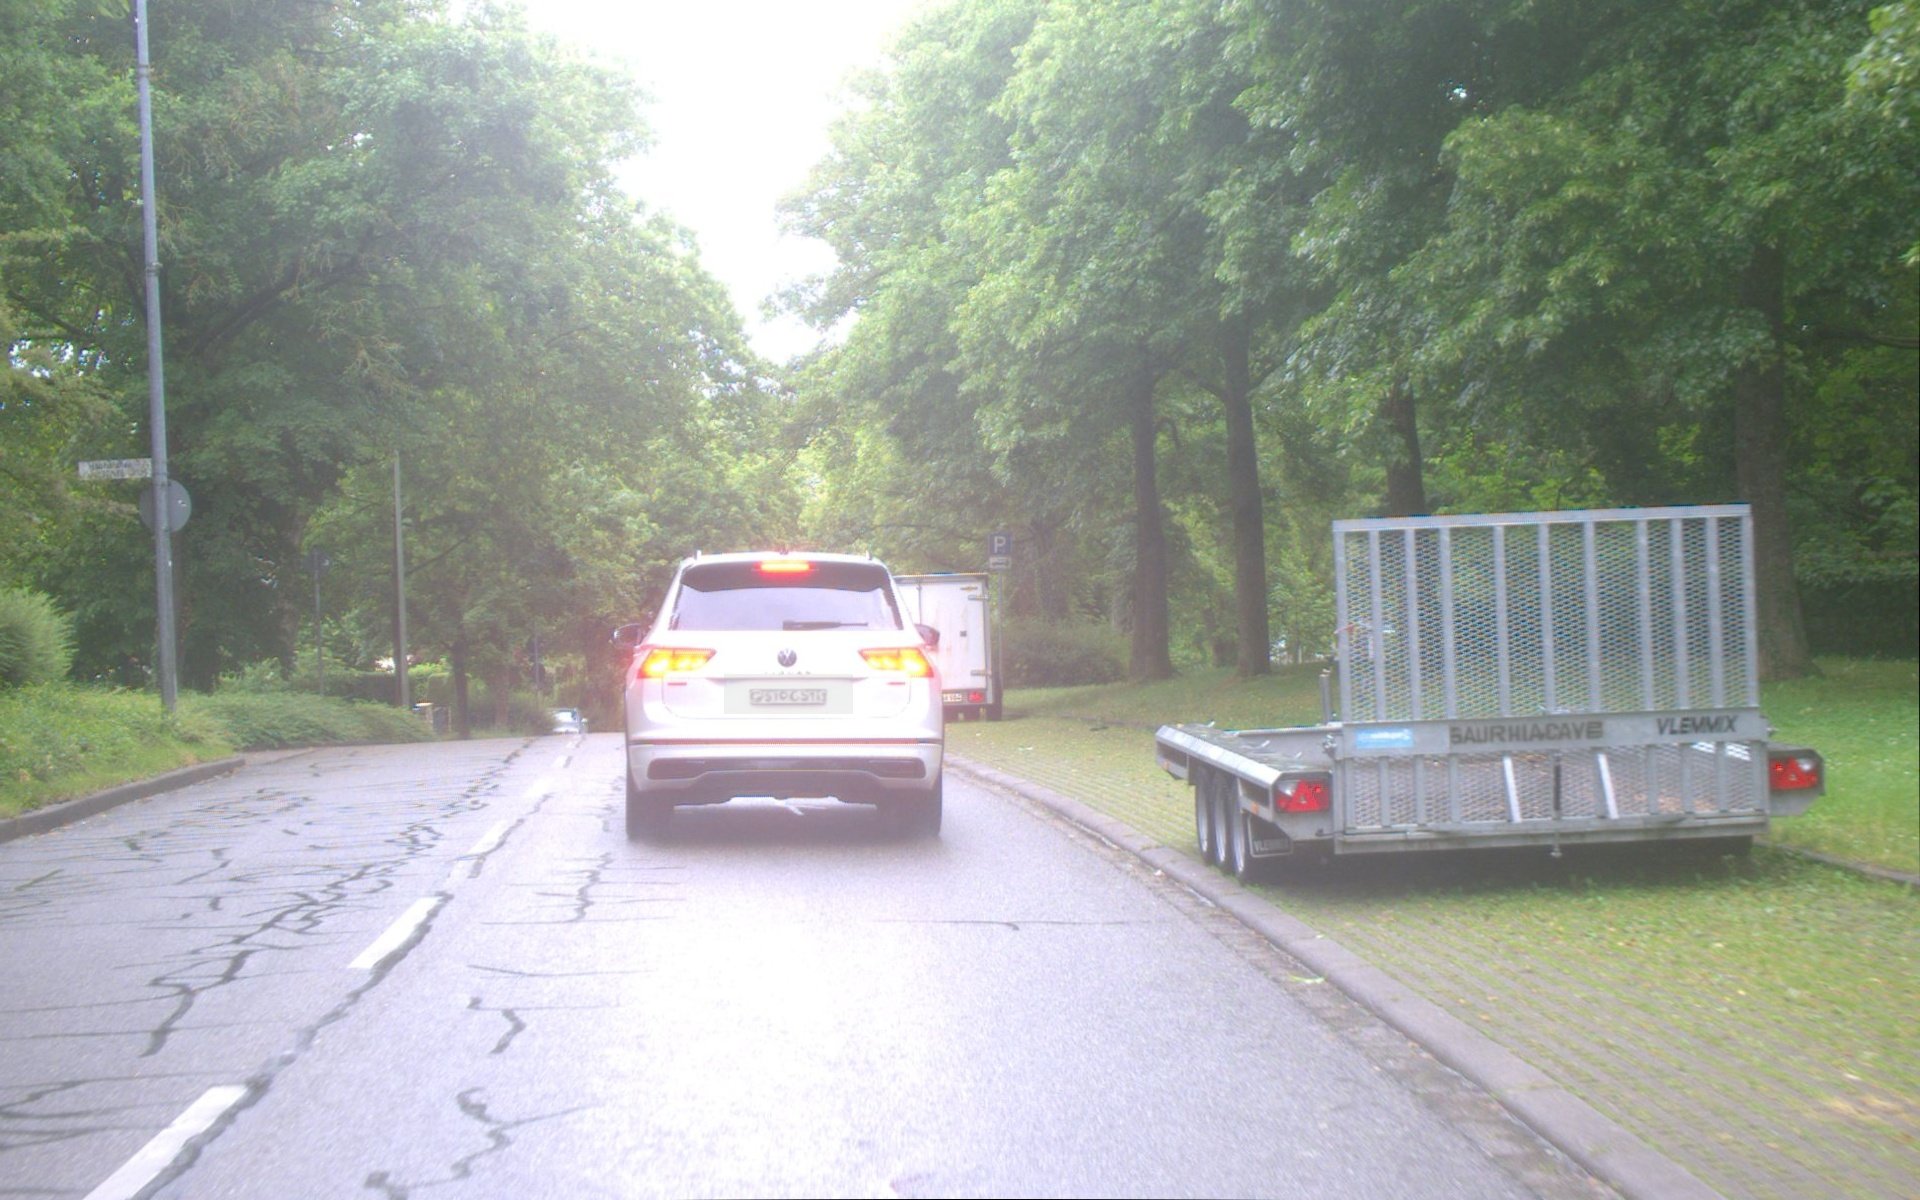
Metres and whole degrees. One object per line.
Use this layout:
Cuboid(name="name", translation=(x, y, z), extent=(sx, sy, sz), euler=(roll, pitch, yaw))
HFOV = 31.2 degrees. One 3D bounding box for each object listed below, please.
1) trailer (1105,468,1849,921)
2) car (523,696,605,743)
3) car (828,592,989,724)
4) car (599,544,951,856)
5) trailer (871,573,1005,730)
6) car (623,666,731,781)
Cuboid(name="trailer", translation=(2.300, 0.411, 17.362), extent=(2.449, 1.806, 5.892), euler=(-2, 0, -4))
Cuboid(name="car", translation=(-13.946, 4.228, 121.215), extent=(1.994, 1.593, 4.008), euler=(-2, -2, 6))
Cuboid(name="car", translation=(-0.865, 0.953, 53.802), extent=(1.993, 1.903, 5.509), euler=(-1, -2, -6))
Cuboid(name="car", translation=(-1.108, 0.538, 20.955), extent=(1.905, 1.679, 4.201), euler=(-1, 0, -3))
Cuboid(name="trailer", translation=(-0.354, 0.754, 49.083), extent=(1.529, 2.069, 4.000), euler=(-3, -1, -5))
Cuboid(name="car", translation=(-5.953, 2.543, 71.948), extent=(1.993, 2.006, 4.002), euler=(-2, 3, -8))
